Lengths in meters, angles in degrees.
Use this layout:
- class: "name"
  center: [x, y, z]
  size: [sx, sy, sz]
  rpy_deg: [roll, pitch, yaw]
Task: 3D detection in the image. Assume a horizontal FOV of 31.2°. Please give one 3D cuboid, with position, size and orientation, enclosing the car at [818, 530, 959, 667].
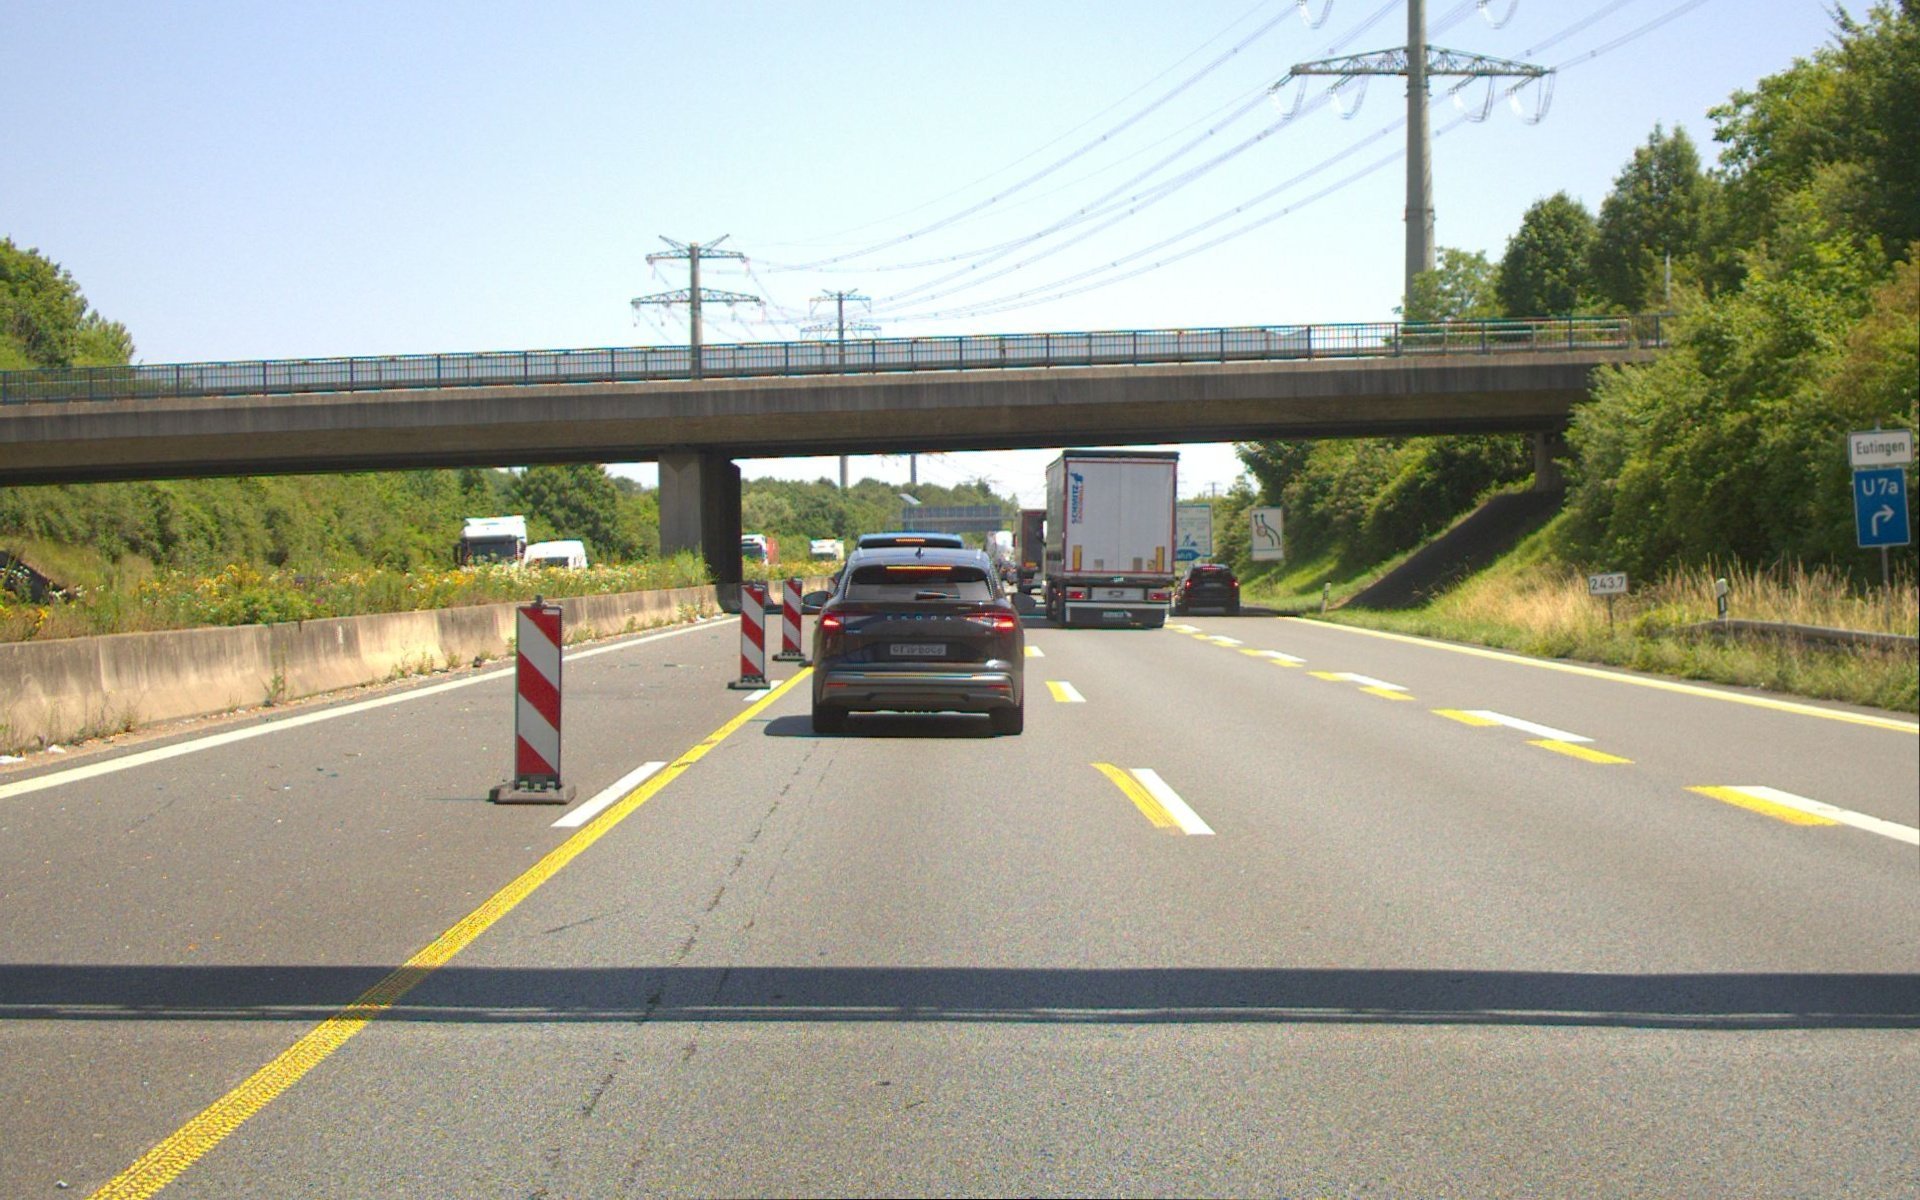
- class: "car"
  center: [-1.034, -0.060, 49.701]
  size: [1.895, 1.835, 4.443]
  rpy_deg: [2, 1, -1]

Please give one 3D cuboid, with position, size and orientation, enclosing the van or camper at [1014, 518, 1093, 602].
- class: "van or camper"
  center: [3.378, -1.479, 125.425]
  size: [2.586, 2.958, 6.085]
  rpy_deg: [0, 1, -1]

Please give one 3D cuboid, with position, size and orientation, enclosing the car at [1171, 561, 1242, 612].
- class: "car"
  center: [7.455, -0.433, 104.307]
  size: [1.779, 1.484, 4.464]
  rpy_deg: [1, 1, -1]

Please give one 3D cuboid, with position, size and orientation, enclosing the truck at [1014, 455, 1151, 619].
- class: "truck"
  center: [3.107, -1.623, 89.253]
  size: [3.024, 4.073, 7.796]
  rpy_deg: [0, 1, -2]

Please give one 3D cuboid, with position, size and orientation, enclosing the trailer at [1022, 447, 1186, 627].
- class: "trailer"
  center: [3.318, -1.492, 82.467]
  size: [3.065, 4.029, 11.489]
  rpy_deg: [0, 1, -2]

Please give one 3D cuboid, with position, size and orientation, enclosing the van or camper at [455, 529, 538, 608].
- class: "van or camper"
  center: [-19.052, -1.325, 141.601]
  size: [2.570, 3.176, 6.233]
  rpy_deg: [0, 1, 0]

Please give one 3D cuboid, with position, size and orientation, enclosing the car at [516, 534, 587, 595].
- class: "car"
  center: [-15.444, -1.349, 130.290]
  size: [2.112, 2.190, 5.313]
  rpy_deg: [2, 1, -1]

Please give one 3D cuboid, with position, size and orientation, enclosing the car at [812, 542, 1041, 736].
- class: "car"
  center: [-0.334, 0.284, 30.765]
  size: [1.895, 1.586, 4.443]
  rpy_deg: [0, 1, -1]

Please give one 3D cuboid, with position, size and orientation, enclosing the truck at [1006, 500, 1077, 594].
- class: "truck"
  center: [3.751, -2.460, 160.981]
  size: [3.078, 4.132, 13.054]
  rpy_deg: [1, 1, 1]
